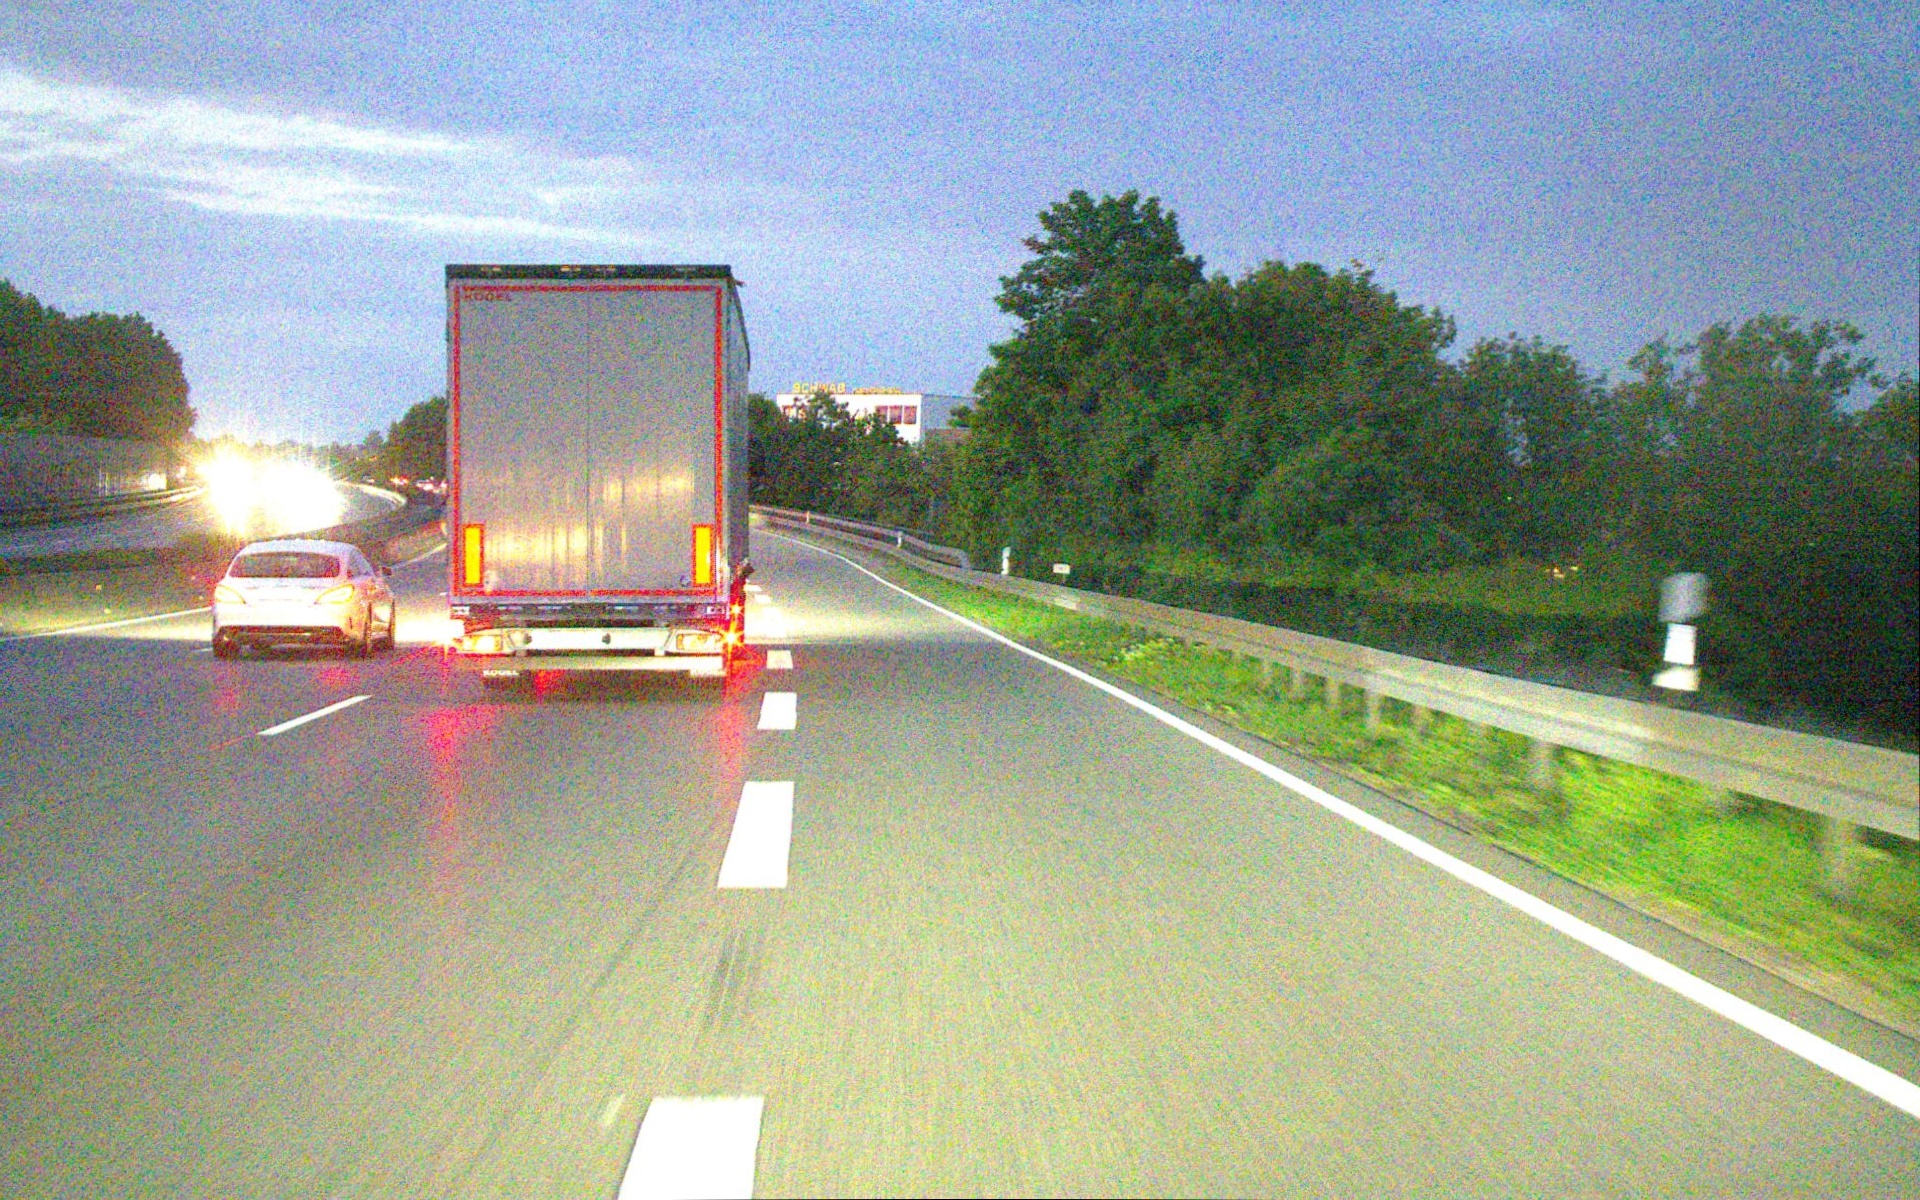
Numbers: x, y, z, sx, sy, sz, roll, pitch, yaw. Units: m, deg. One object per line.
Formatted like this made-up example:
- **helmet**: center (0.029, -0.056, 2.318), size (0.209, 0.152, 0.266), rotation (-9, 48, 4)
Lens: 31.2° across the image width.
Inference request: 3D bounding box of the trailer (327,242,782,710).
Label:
- **trailer**: center (-3.944, -1.208, 37.691), size (3.550, 4.102, 15.064), rotation (0, 1, -1)

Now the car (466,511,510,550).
- **car**: center (-21.545, -3.158, 156.990), size (1.761, 1.569, 4.577), rotation (1, -1, -5)

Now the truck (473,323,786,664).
- **truck**: center (-4.106, -1.324, 44.187), size (3.550, 4.077, 6.152), rotation (0, 1, -1)

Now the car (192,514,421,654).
- **car**: center (-8.097, -0.160, 43.036), size (1.906, 1.609, 4.803), rotation (1, -1, 0)
